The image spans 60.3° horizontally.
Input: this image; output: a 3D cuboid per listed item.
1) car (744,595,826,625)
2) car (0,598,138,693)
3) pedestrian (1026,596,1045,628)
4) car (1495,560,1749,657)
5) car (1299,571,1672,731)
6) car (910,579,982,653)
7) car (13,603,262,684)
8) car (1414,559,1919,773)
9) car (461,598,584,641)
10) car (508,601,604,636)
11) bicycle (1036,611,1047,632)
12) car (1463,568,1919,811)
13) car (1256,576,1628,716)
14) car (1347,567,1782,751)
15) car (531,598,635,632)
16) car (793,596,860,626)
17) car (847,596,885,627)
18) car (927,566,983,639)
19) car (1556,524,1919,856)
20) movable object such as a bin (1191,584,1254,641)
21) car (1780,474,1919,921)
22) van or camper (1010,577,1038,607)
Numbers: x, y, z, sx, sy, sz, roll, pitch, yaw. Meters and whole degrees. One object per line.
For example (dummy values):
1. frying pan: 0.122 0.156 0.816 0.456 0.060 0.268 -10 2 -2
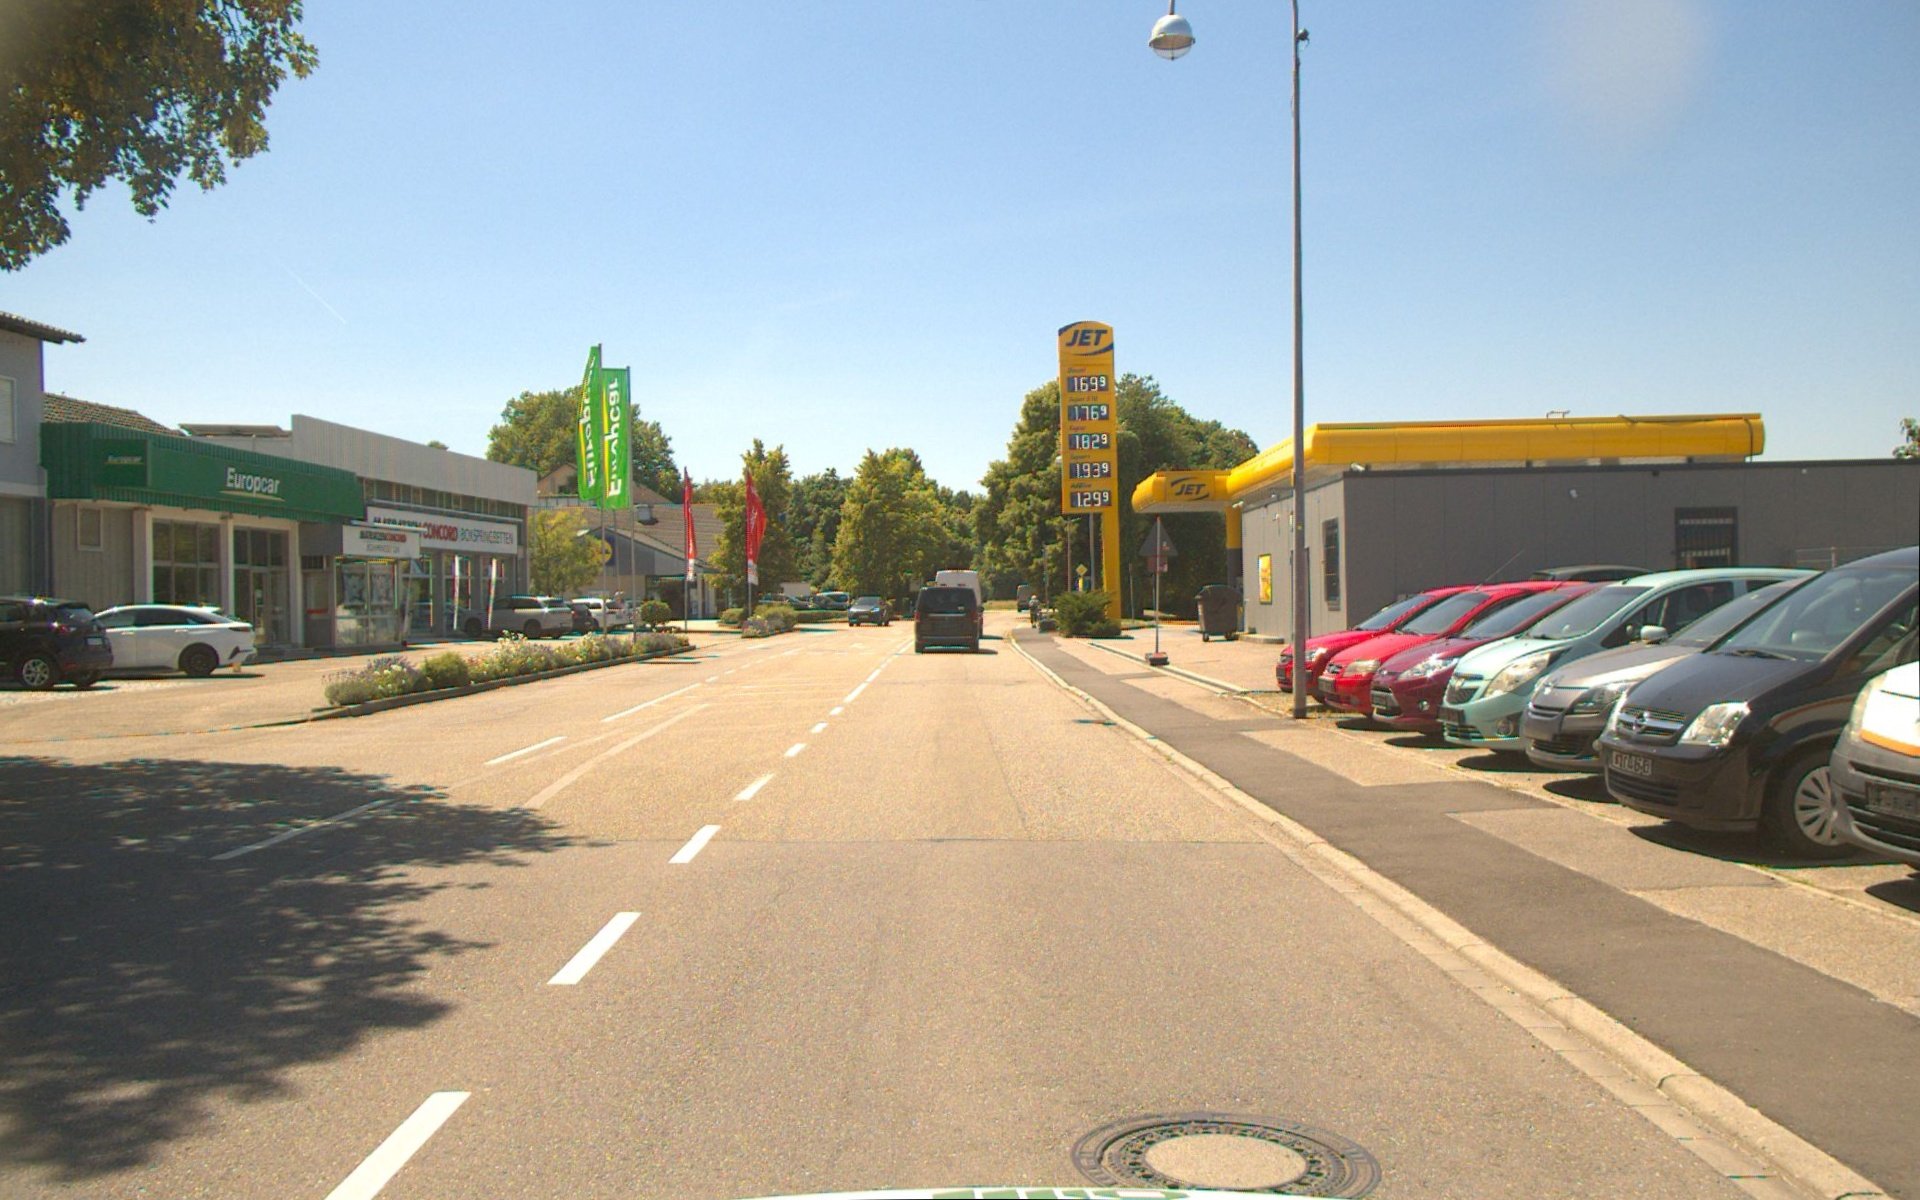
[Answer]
1. car: -10.652 0.622 100.968 4.607 1.793 2.100 0 -1 8
2. car: -16.664 0.793 29.005 3.487 1.592 1.969 -1 0 -1
3. pedestrian: 3.395 0.539 74.596 0.752 1.446 0.868 0 0 8
4. car: 12.124 0.153 30.471 3.904 1.686 1.948 -1 0 2
5. car: 5.846 0.542 18.650 3.612 1.594 1.707 -2 0 -4
6. car: -0.343 0.450 48.227 1.952 1.987 5.005 1 0 1
7. car: -16.218 0.829 32.879 4.282 1.464 1.926 -1 0 -23
8. car: 5.922 0.517 14.077 3.611 1.594 1.641 -2 0 -3
9. car: -17.700 0.790 66.977 4.435 1.693 2.001 0 0 18
10. car: -17.581 0.803 71.965 3.550 1.500 2.001 0 0 18
11. bicycle: 3.682 0.951 74.439 0.370 0.928 1.599 0 0 8
12. car: 5.798 0.580 11.992 3.715 1.536 1.833 -2 0 0
13. car: 6.049 0.553 21.123 4.139 1.561 1.958 -2 0 -2
14. car: 5.878 0.537 16.344 3.612 1.594 1.748 -2 0 -5
15. car: -17.031 0.684 74.763 4.095 1.472 1.981 0 0 16
16. car: -8.936 0.747 111.136 4.266 2.015 1.905 0 -1 1
17. car: -5.032 0.617 89.143 1.726 1.553 4.137 -2 0 0
18. car: -0.155 0.111 65.812 2.035 2.750 4.667 1 0 2
19. car: 5.740 0.426 9.725 3.799 1.710 1.762 -2 0 -4
20. movable object such as a bin: 7.021 0.330 44.393 1.405 1.463 1.468 -2 0 0
21. car: 6.236 0.401 7.642 4.055 1.972 1.805 -1 0 -6
22. van or camper: 6.442 -0.770 166.212 2.578 2.980 5.206 0 -1 0
